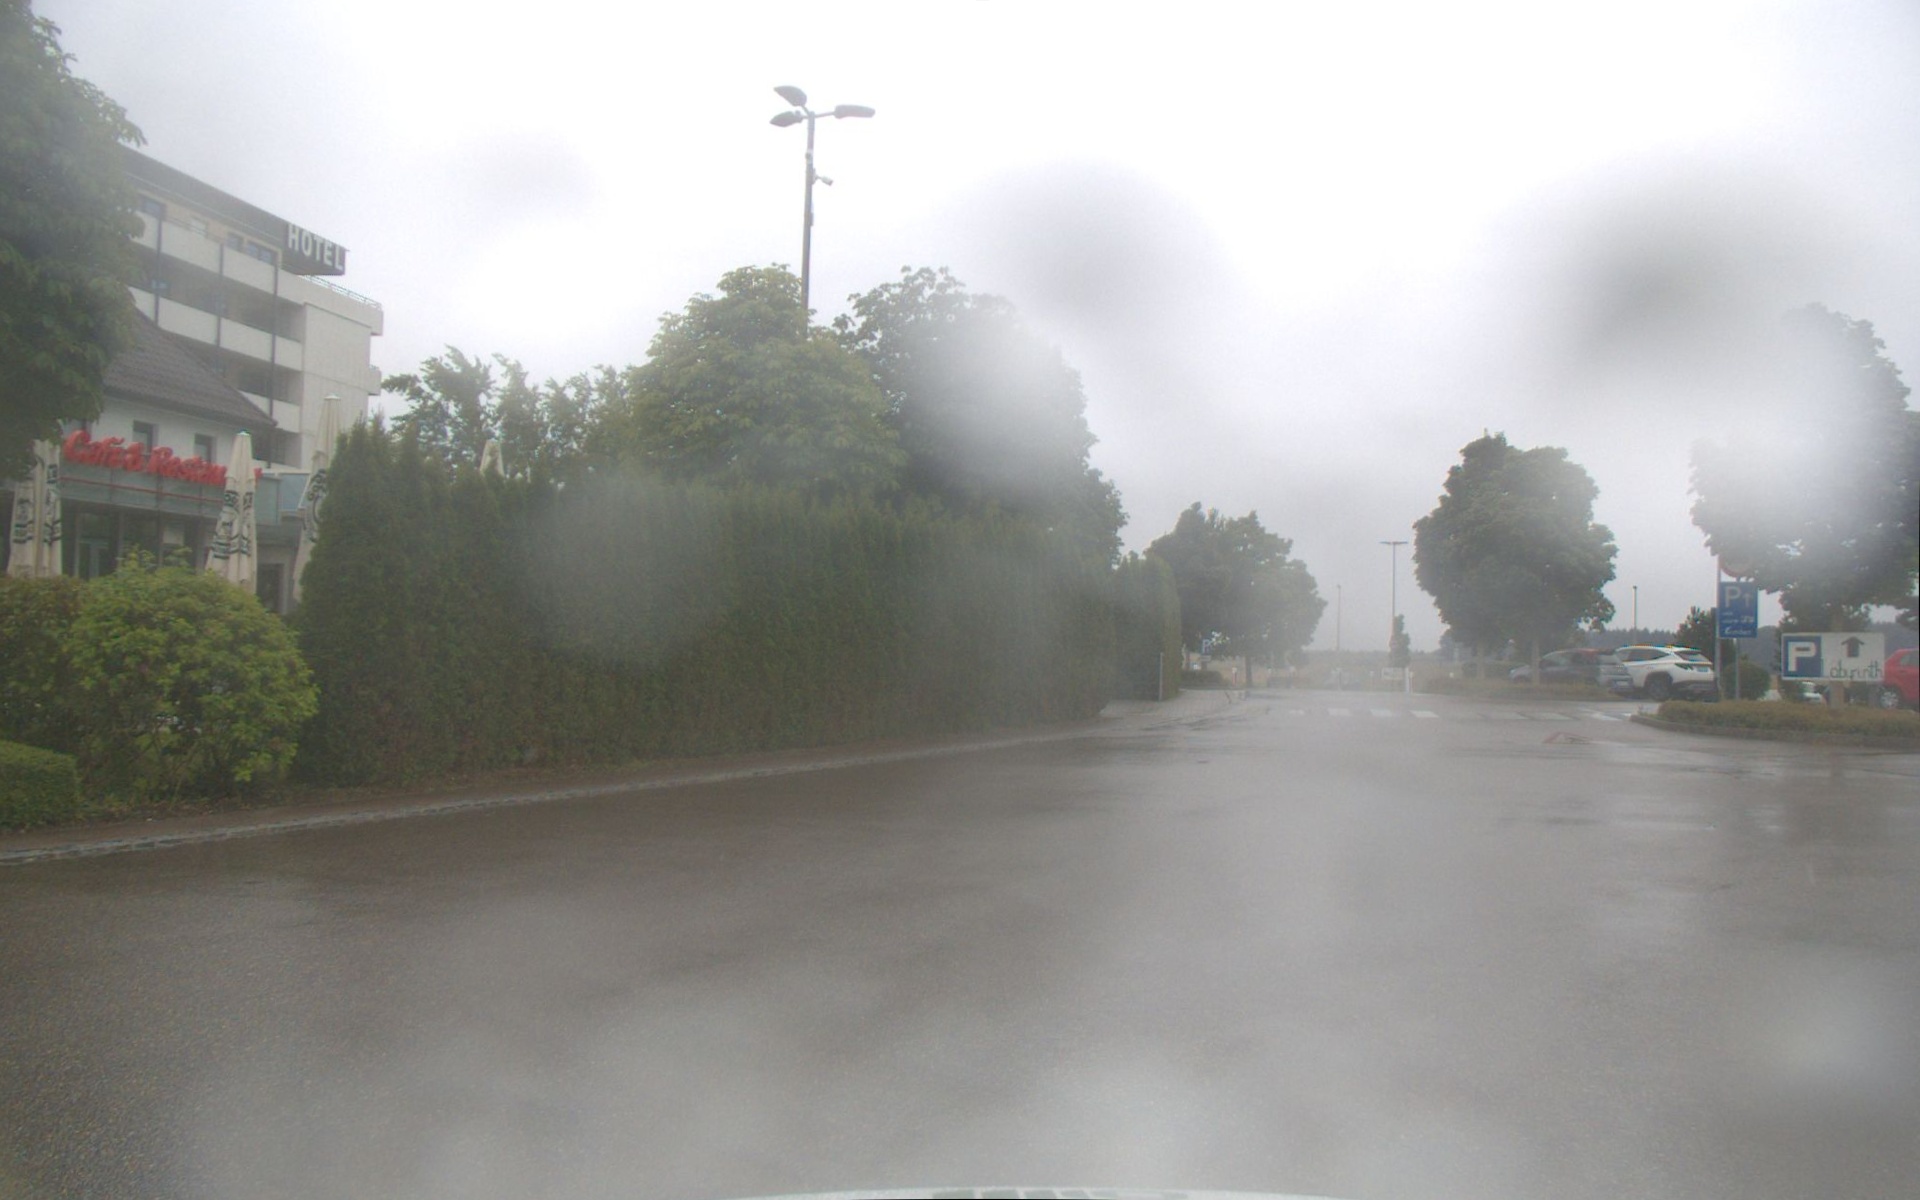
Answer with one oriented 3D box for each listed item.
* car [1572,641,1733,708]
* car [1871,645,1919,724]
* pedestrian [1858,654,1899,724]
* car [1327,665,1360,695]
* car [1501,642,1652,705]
[{"bbox_3d":[20.935,2.236,50.159,1.699,1.895,4.319,4,-3,-32],"label":"car"},{"bbox_3d":[23.473,1.953,38.109,1.827,1.824,3.978,1,-2,-33],"label":"car"},{"bbox_3d":[18.711,1.820,33.708,0.629,1.386,0.452,2,-3,17],"label":"pedestrian"},{"bbox_3d":[28.707,5.986,123.647,1.669,2.049,3.997,2,-3,24],"label":"car"},{"bbox_3d":[18.211,2.164,49.007,1.699,1.746,3.981,4,-3,-32],"label":"car"}]
